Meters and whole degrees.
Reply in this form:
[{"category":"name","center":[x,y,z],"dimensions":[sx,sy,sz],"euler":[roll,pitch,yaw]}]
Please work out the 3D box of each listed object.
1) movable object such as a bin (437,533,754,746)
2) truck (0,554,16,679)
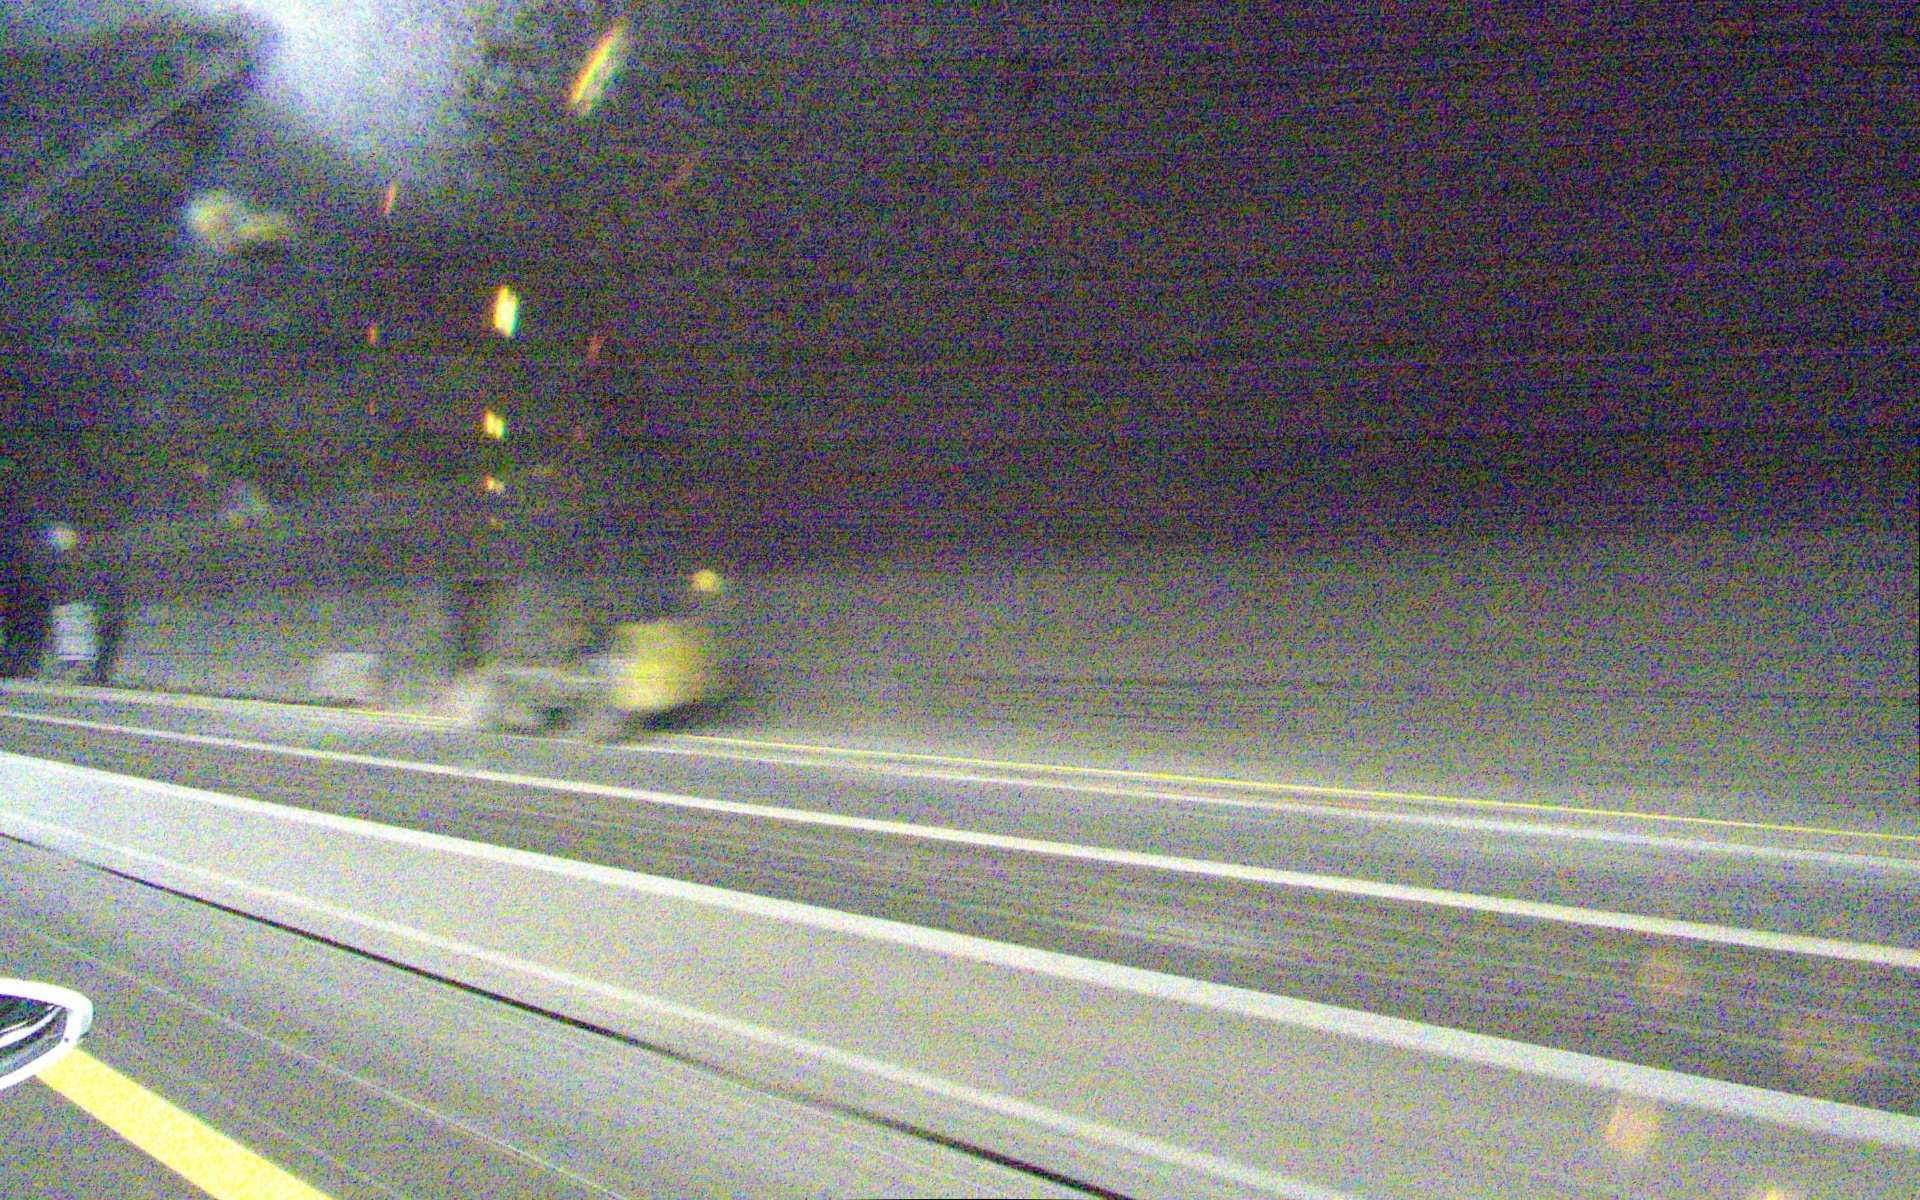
[{"category":"movable object such as a bin","center":[-4.816,0.455,13.120],"dimensions":[3.943,2.413,1.752],"euler":[-1,2,32]},{"category":"truck","center":[-29.531,0.488,27.849],"dimensions":[8.282,3.314,2.887],"euler":[-1,-1,33]}]
